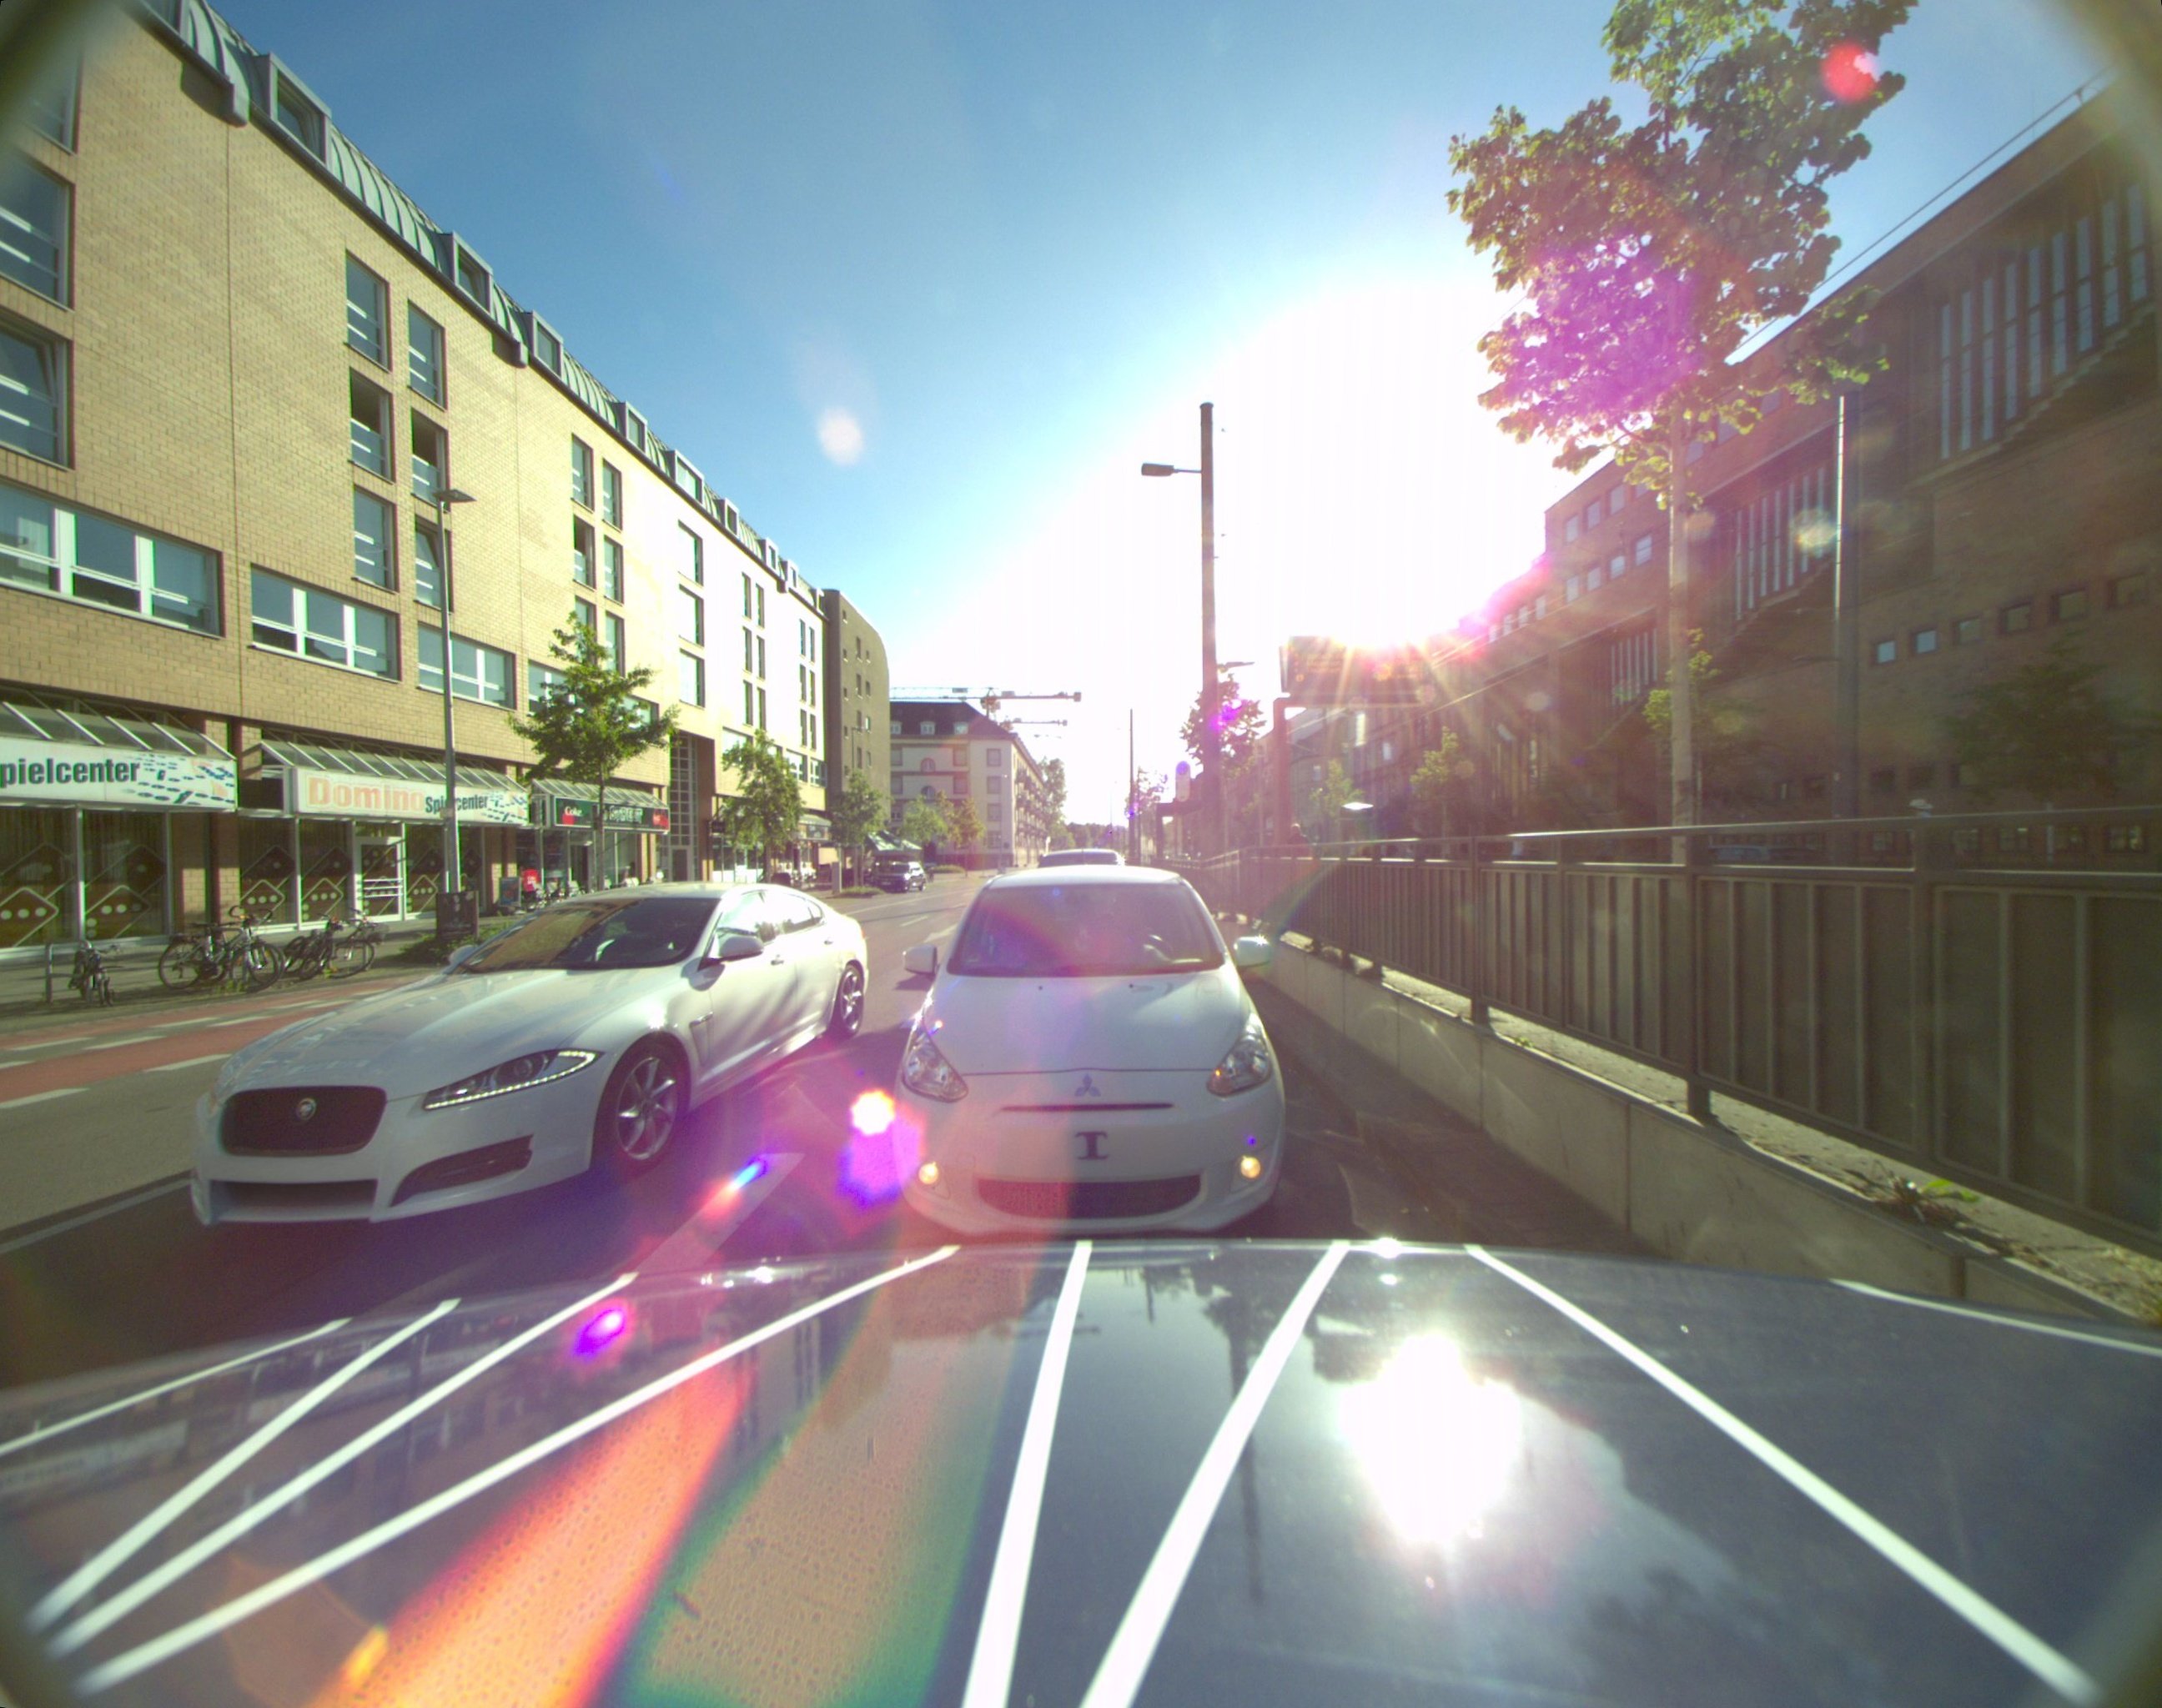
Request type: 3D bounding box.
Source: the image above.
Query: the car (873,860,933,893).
[{"bbox_3d":[-9.694,1.170,41.617,1.778,1.630,4.002,1,1,9],"label":"car"}]

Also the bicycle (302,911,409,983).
[{"bbox_3d":[-11.919,1.504,12.477,1.835,1.050,0.350,1,2,15],"label":"bicycle"}]

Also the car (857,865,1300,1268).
[{"bbox_3d":[-0.009,0.885,5.160,1.720,1.422,4.215,-2,1,0],"label":"car"}]

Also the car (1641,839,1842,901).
[{"bbox_3d":[18.456,0.377,21.546,1.830,1.559,4.239,0,1,-3],"label":"car"}]

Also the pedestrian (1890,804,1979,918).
[{"bbox_3d":[13.903,0.109,12.396,0.685,1.797,0.668,-2,2,0],"label":"pedestrian"}]

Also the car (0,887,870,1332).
[{"bbox_3d":[-3.053,1.052,5.050,1.807,1.421,4.454,-1,0,3],"label":"car"}]

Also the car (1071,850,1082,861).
[{"bbox_3d":[-0.880,0.304,149.269,2.164,1.904,4.472,-2,0,0],"label":"car"}]

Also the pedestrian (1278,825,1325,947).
[{"bbox_3d":[4.480,0.637,15.477,0.684,2.428,0.626,-2,2,-2],"label":"pedestrian"}]

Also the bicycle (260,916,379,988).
[{"bbox_3d":[-12.036,1.533,12.007,1.835,0.980,0.449,1,2,15],"label":"bicycle"}]

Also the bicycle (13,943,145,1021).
[{"bbox_3d":[-12.946,1.631,9.811,1.772,0.827,0.366,1,2,15],"label":"bicycle"}]

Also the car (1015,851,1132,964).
[{"bbox_3d":[-0.114,0.816,13.728,1.720,1.591,4.215,-2,1,0],"label":"car"}]

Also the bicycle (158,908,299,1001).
[{"bbox_3d":[-12.319,1.424,10.985,1.835,1.156,0.565,1,2,15],"label":"bicycle"}]
